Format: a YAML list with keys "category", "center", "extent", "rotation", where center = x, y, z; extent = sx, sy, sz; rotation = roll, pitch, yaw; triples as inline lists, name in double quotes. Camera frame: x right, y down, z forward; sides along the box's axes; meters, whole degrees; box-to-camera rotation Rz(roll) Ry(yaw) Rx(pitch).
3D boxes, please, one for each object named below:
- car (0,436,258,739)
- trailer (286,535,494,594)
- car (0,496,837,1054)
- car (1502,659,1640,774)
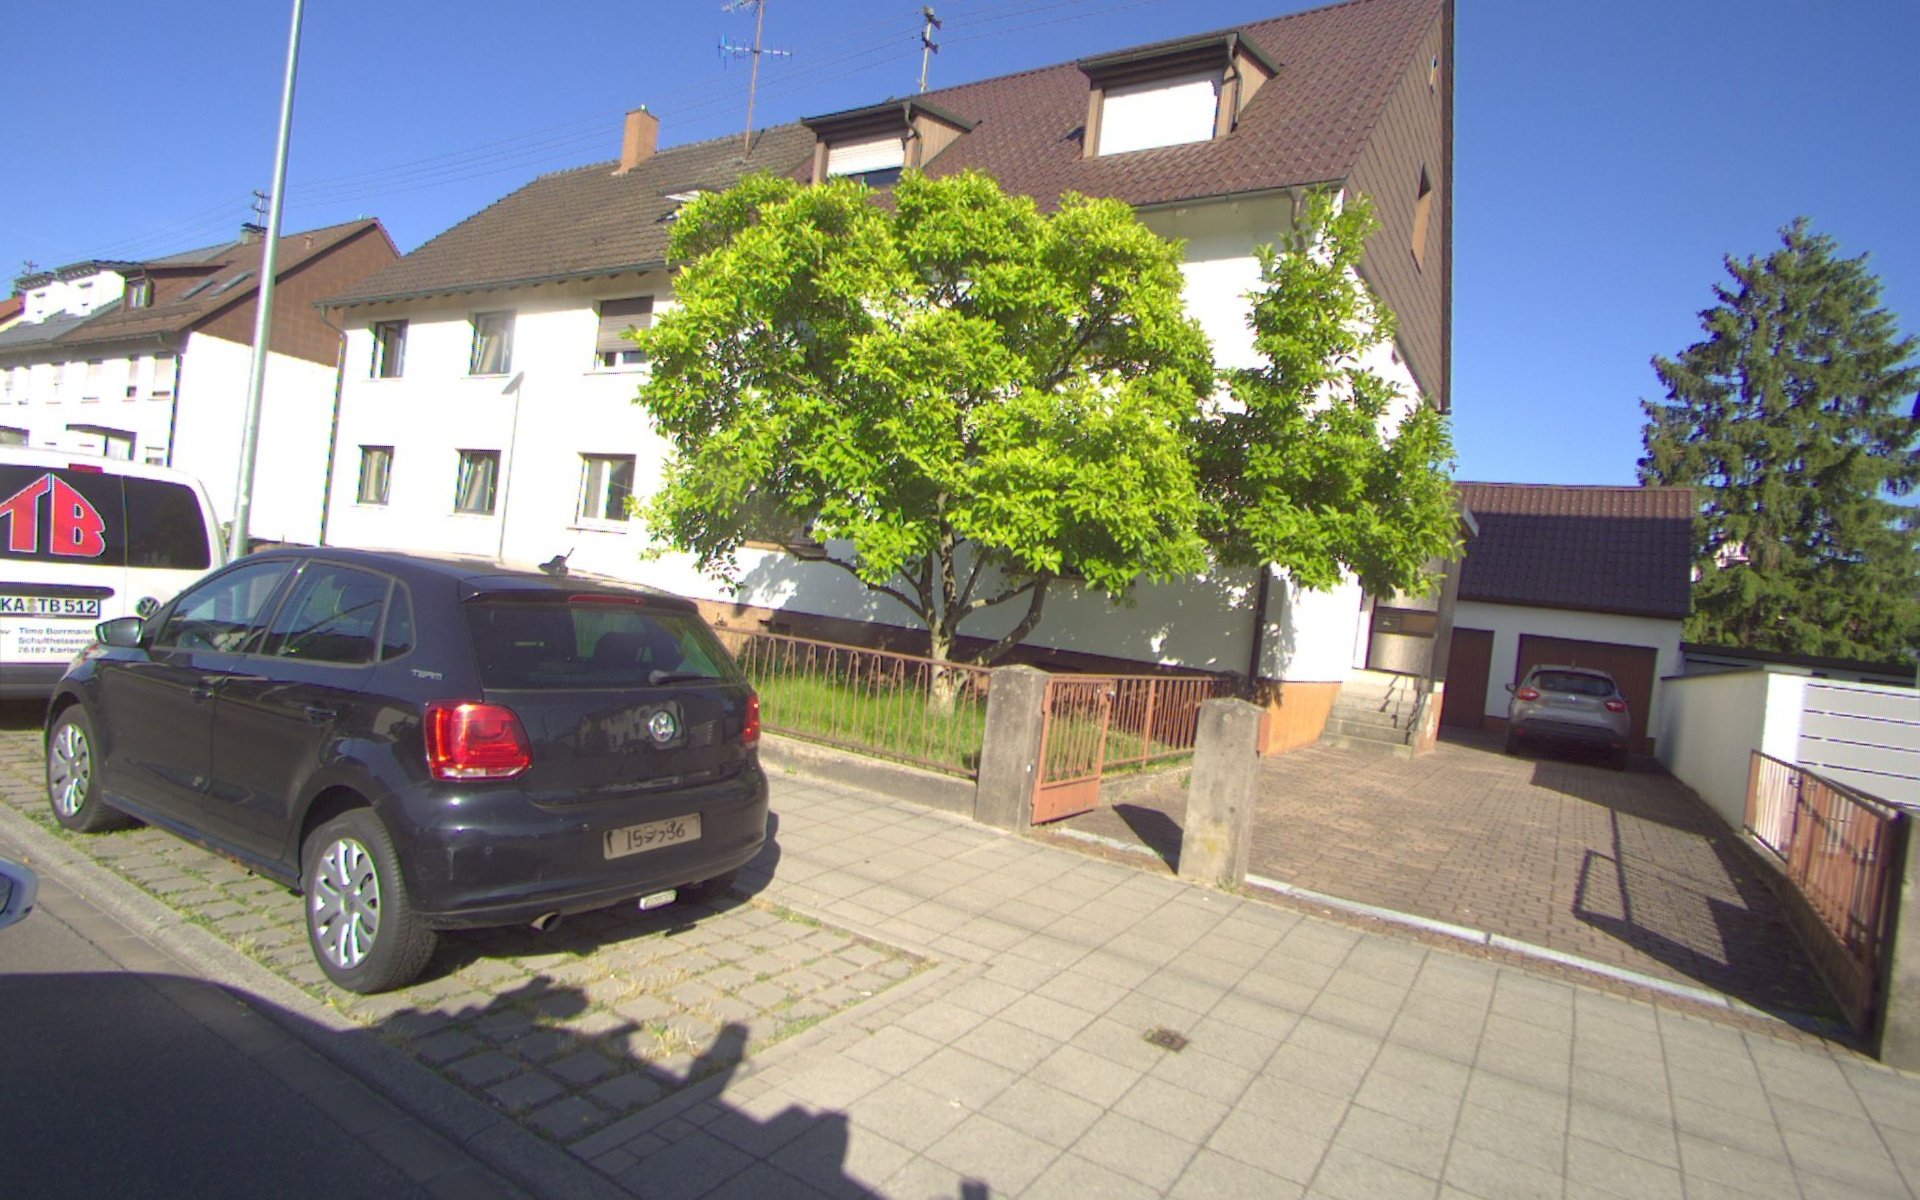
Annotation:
- category: "car"
  center: [-7.370, -0.262, 7.599]
  extent: [4.580, 1.799, 1.691]
  rotation: [7, 0, 33]
- category: "trailer"
  center: [-15.875, -0.960, 28.274]
  extent: [1.618, 1.041, 4.807]
  rotation: [7, 0, 35]
- category: "car"
  center: [-2.741, 0.450, 4.700]
  extent: [4.058, 1.471, 1.672]
  rotation: [6, 0, 33]
- category: "car"
  center: [10.611, 1.957, 17.659]
  extent: [1.729, 1.566, 3.726]
  rotation: [7, 0, 30]
